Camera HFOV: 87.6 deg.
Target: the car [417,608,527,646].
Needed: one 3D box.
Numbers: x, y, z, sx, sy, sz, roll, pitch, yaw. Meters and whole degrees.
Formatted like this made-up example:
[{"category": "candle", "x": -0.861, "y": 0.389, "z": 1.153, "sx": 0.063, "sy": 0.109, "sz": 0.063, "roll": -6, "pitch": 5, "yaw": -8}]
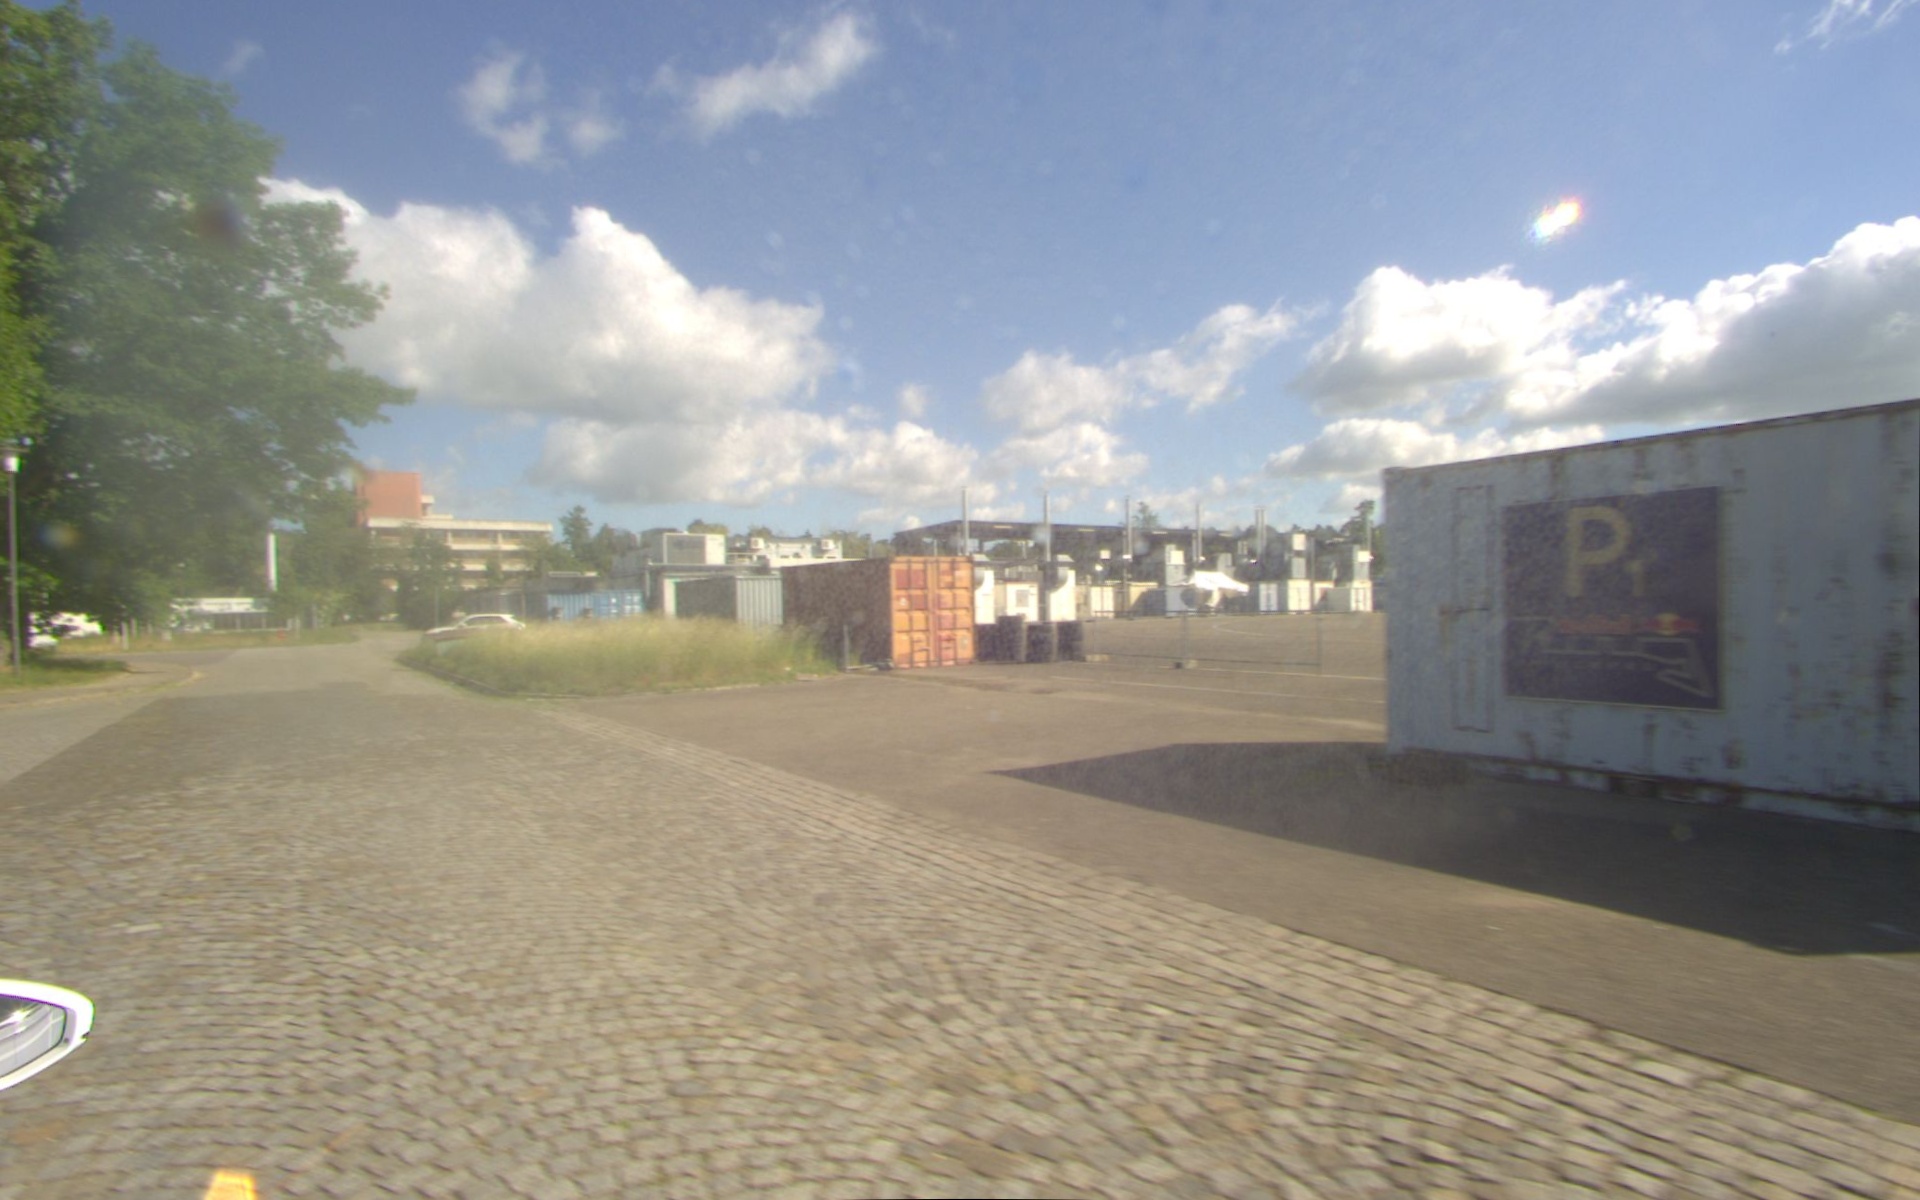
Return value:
[{"category": "car", "x": -23.447, "y": 1.248, "z": 48.166, "sx": 4.462, "sy": 1.669, "sz": 1.986, "roll": -1, "pitch": 0, "yaw": -36}]
